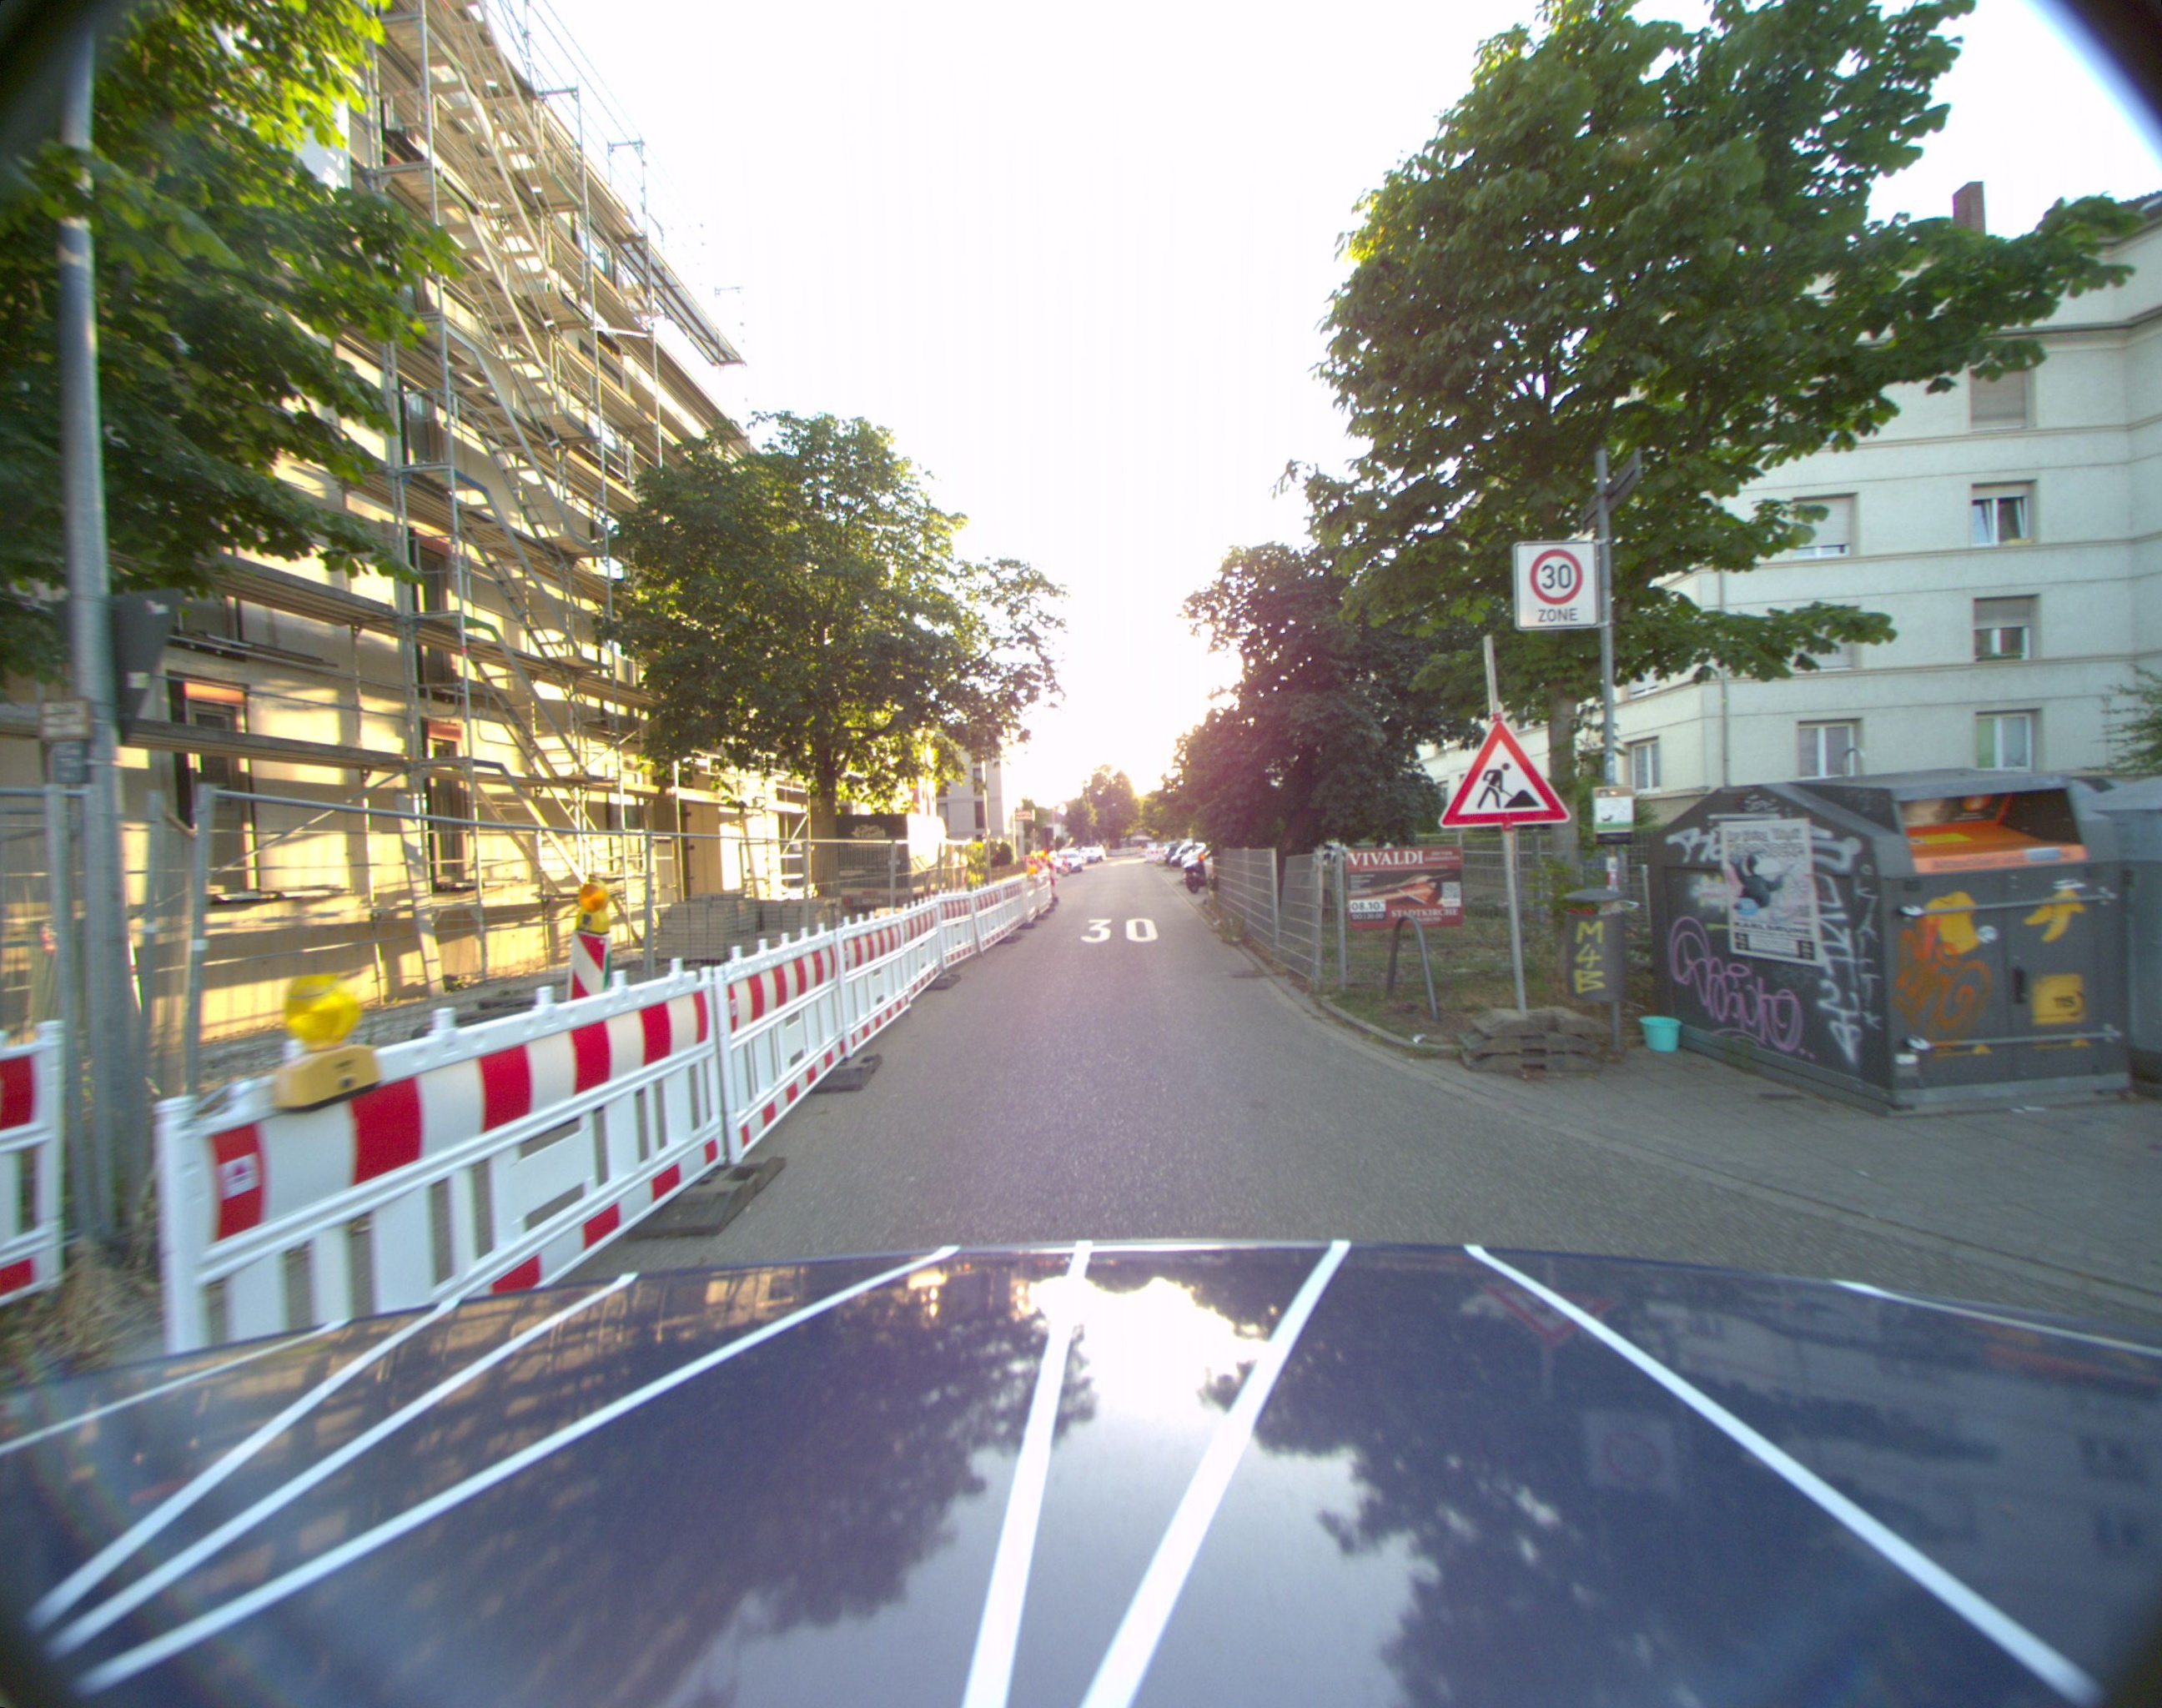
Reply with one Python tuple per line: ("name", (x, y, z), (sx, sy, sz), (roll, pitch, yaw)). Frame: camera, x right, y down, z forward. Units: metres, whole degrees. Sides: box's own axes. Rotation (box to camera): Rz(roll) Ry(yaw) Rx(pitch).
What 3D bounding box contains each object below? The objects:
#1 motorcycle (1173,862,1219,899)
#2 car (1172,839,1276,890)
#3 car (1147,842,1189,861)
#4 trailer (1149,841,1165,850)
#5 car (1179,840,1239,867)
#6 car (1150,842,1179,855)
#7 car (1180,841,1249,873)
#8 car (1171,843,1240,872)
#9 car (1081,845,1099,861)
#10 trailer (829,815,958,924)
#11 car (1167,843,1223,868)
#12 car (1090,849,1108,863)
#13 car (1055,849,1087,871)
("motorcycle", (3.861, 0.856, 25.338), (0.538, 1.015, 2.215), (-5, 0, 33))
("car", (5.415, 0.395, 29.081), (3.632, 1.548, 1.693), (-6, 1, 4))
("car", (8.196, -0.234, 71.749), (3.708, 1.475, 1.728), (-4, 0, 2))
("trailer", (19.328, -2.276, 192.687), (3.682, 2.056, 2.002), (-3, 0, 17))
("car", (8.336, -0.021, 49.730), (3.685, 1.476, 1.728), (-4, 2, 6))
("car", (14.313, -0.924, 130.486), (4.784, 2.058, 2.001), (-3, 1, 8))
("car", (7.450, 0.153, 42.757), (3.483, 1.557, 1.727), (-4, 2, -1))
("car", (7.613, 0.182, 46.633), (3.986, 1.480, 1.728), (-4, 2, 6))
("car", (0.873, -0.147, 74.311), (1.618, 1.461, 3.997), (-3, 0, 2))
("trailer", (-4.816, 0.369, 20.245), (1.998, 2.525, 4.187), (-3, 0, 5))
("car", (7.817, 0.083, 52.448), (3.685, 1.437, 1.728), (-4, 2, 6))
("car", (2.090, 0.220, 85.098), (1.744, 1.461, 3.760), (-3, 0, 5))
("car", (-0.637, 0.374, 51.510), (1.780, 1.389, 4.108), (-3, 0, 3))
